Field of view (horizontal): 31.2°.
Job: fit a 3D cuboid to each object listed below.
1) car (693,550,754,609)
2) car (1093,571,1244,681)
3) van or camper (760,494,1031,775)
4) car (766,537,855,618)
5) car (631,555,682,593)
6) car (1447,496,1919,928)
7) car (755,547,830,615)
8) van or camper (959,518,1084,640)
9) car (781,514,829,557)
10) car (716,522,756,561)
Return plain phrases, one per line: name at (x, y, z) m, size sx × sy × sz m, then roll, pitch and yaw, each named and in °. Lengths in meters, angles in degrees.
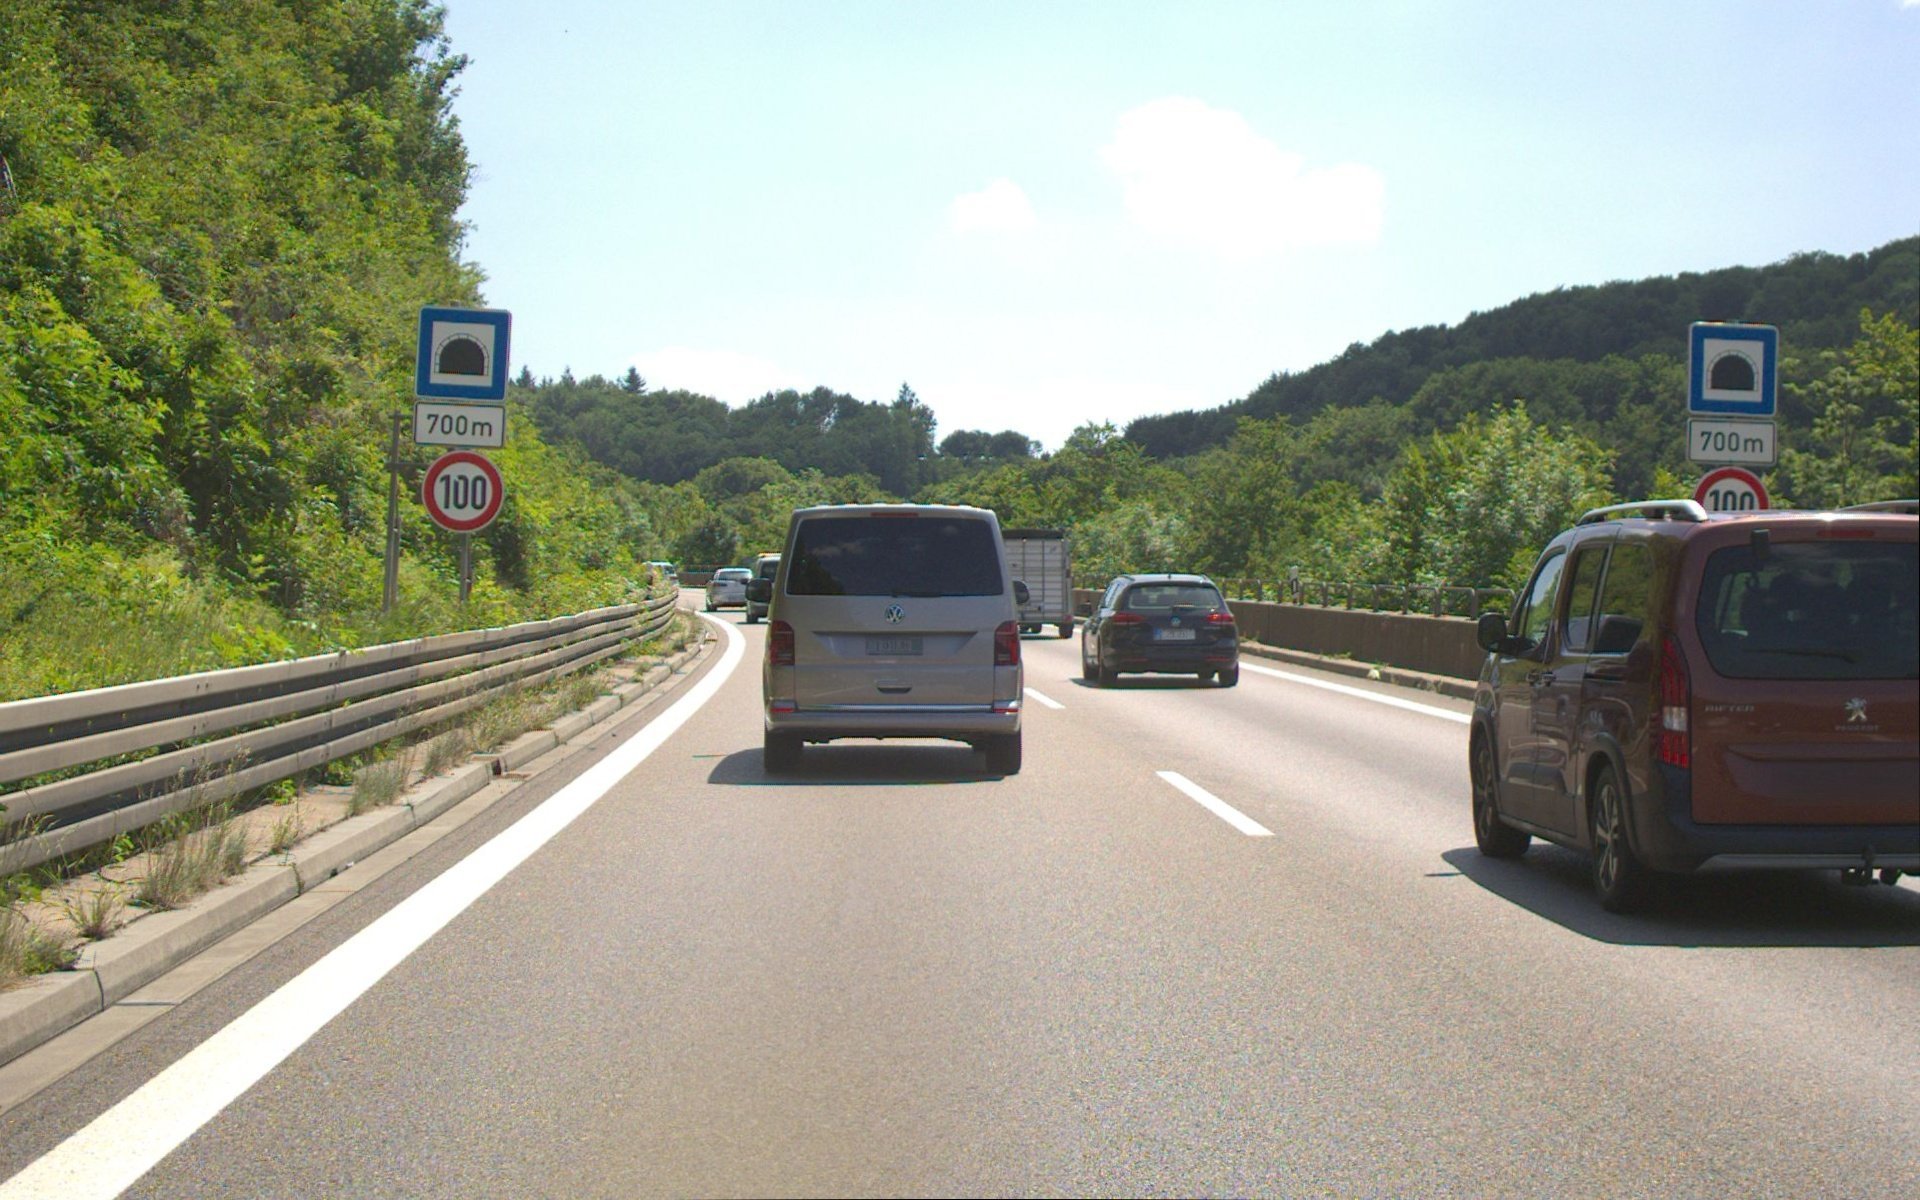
car at (-7.946, -0.698, 115.292) m, size 1.993 × 1.908 × 4.001 m, roll 0°, pitch 1°, yaw -4°
car at (2.714, 0.311, 45.392) m, size 1.768 × 1.371 × 3.593 m, roll 0°, pitch 1°, yaw 0°
van or camper at (-0.560, 0.223, 26.181) m, size 1.875 × 1.943 × 4.294 m, roll 0°, pitch 0°, yaw -3°
car at (-3.447, -0.523, 79.236) m, size 1.993 × 1.811 × 4.000 m, roll 0°, pitch 1°, yaw -3°
car at (-13.311, -1.137, 150.643) m, size 2.142 × 1.601 × 5.079 m, roll -1°, pitch 0°, yaw -5°
car at (3.658, 0.456, 16.556) m, size 1.833 × 1.778 × 4.676 m, roll 0°, pitch 0°, yaw -2°
car at (-4.594, -0.522, 94.361) m, size 1.993 × 1.811 × 4.000 m, roll 0°, pitch 1°, yaw -3°
van or camper at (1.302, -0.470, 75.233) m, size 2.263 × 2.542 × 4.737 m, roll -1°, pitch 0°, yaw -4°
car at (-7.497, -3.113, 166.015) m, size 1.993 × 2.007 × 4.001 m, roll 0°, pitch 1°, yaw -7°
car at (-11.819, -3.064, 181.224) m, size 1.993 × 2.007 × 4.001 m, roll 0°, pitch 1°, yaw -5°
